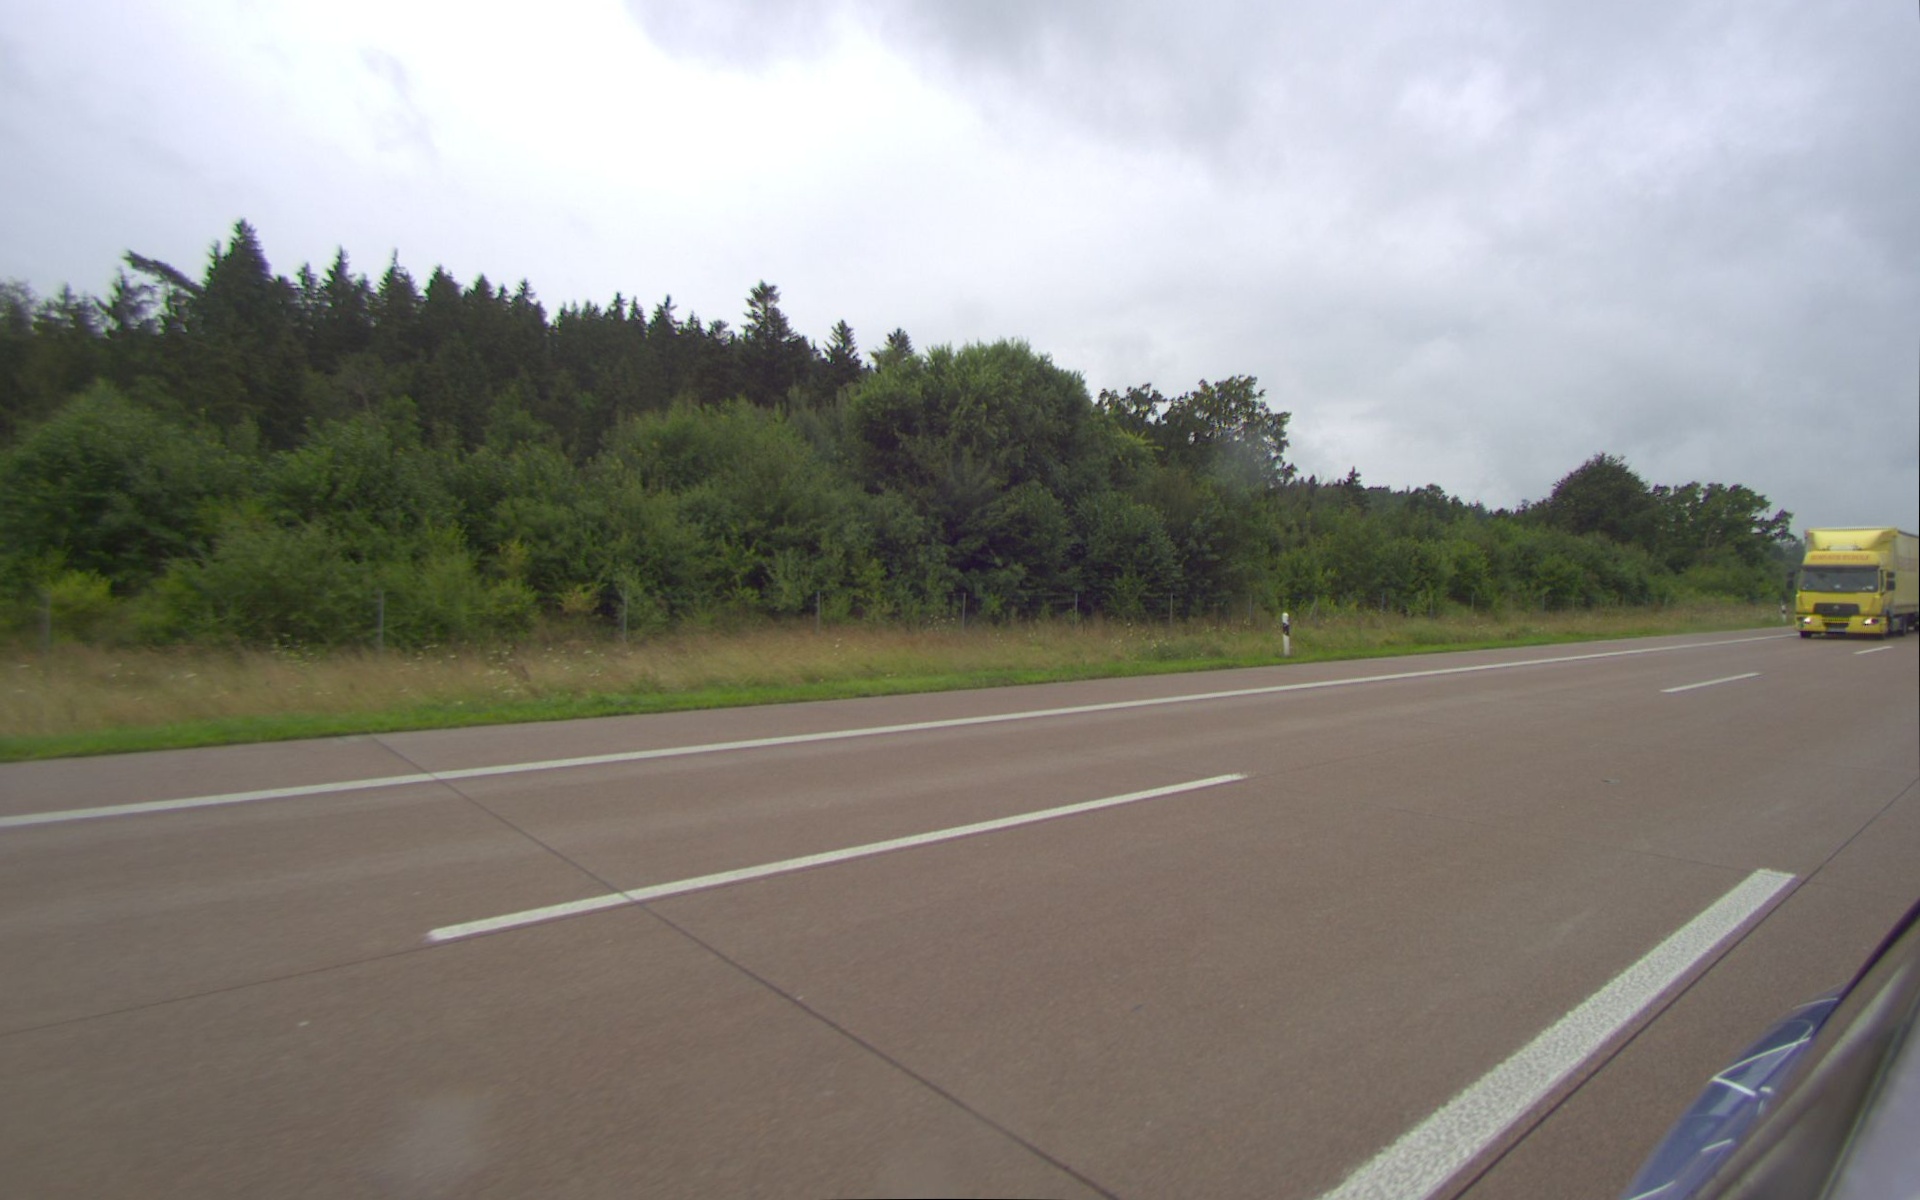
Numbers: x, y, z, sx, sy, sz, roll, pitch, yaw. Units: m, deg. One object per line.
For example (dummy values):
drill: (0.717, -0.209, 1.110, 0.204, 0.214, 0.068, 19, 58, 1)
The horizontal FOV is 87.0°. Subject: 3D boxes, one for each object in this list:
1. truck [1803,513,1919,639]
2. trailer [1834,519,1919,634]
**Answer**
truck: (33.551, -0.875, 37.374, 6.139, 4.267, 2.609, -1, 1, -40)
trailer: (40.342, -1.006, 43.025, 13.830, 4.281, 2.570, -1, 1, -40)
